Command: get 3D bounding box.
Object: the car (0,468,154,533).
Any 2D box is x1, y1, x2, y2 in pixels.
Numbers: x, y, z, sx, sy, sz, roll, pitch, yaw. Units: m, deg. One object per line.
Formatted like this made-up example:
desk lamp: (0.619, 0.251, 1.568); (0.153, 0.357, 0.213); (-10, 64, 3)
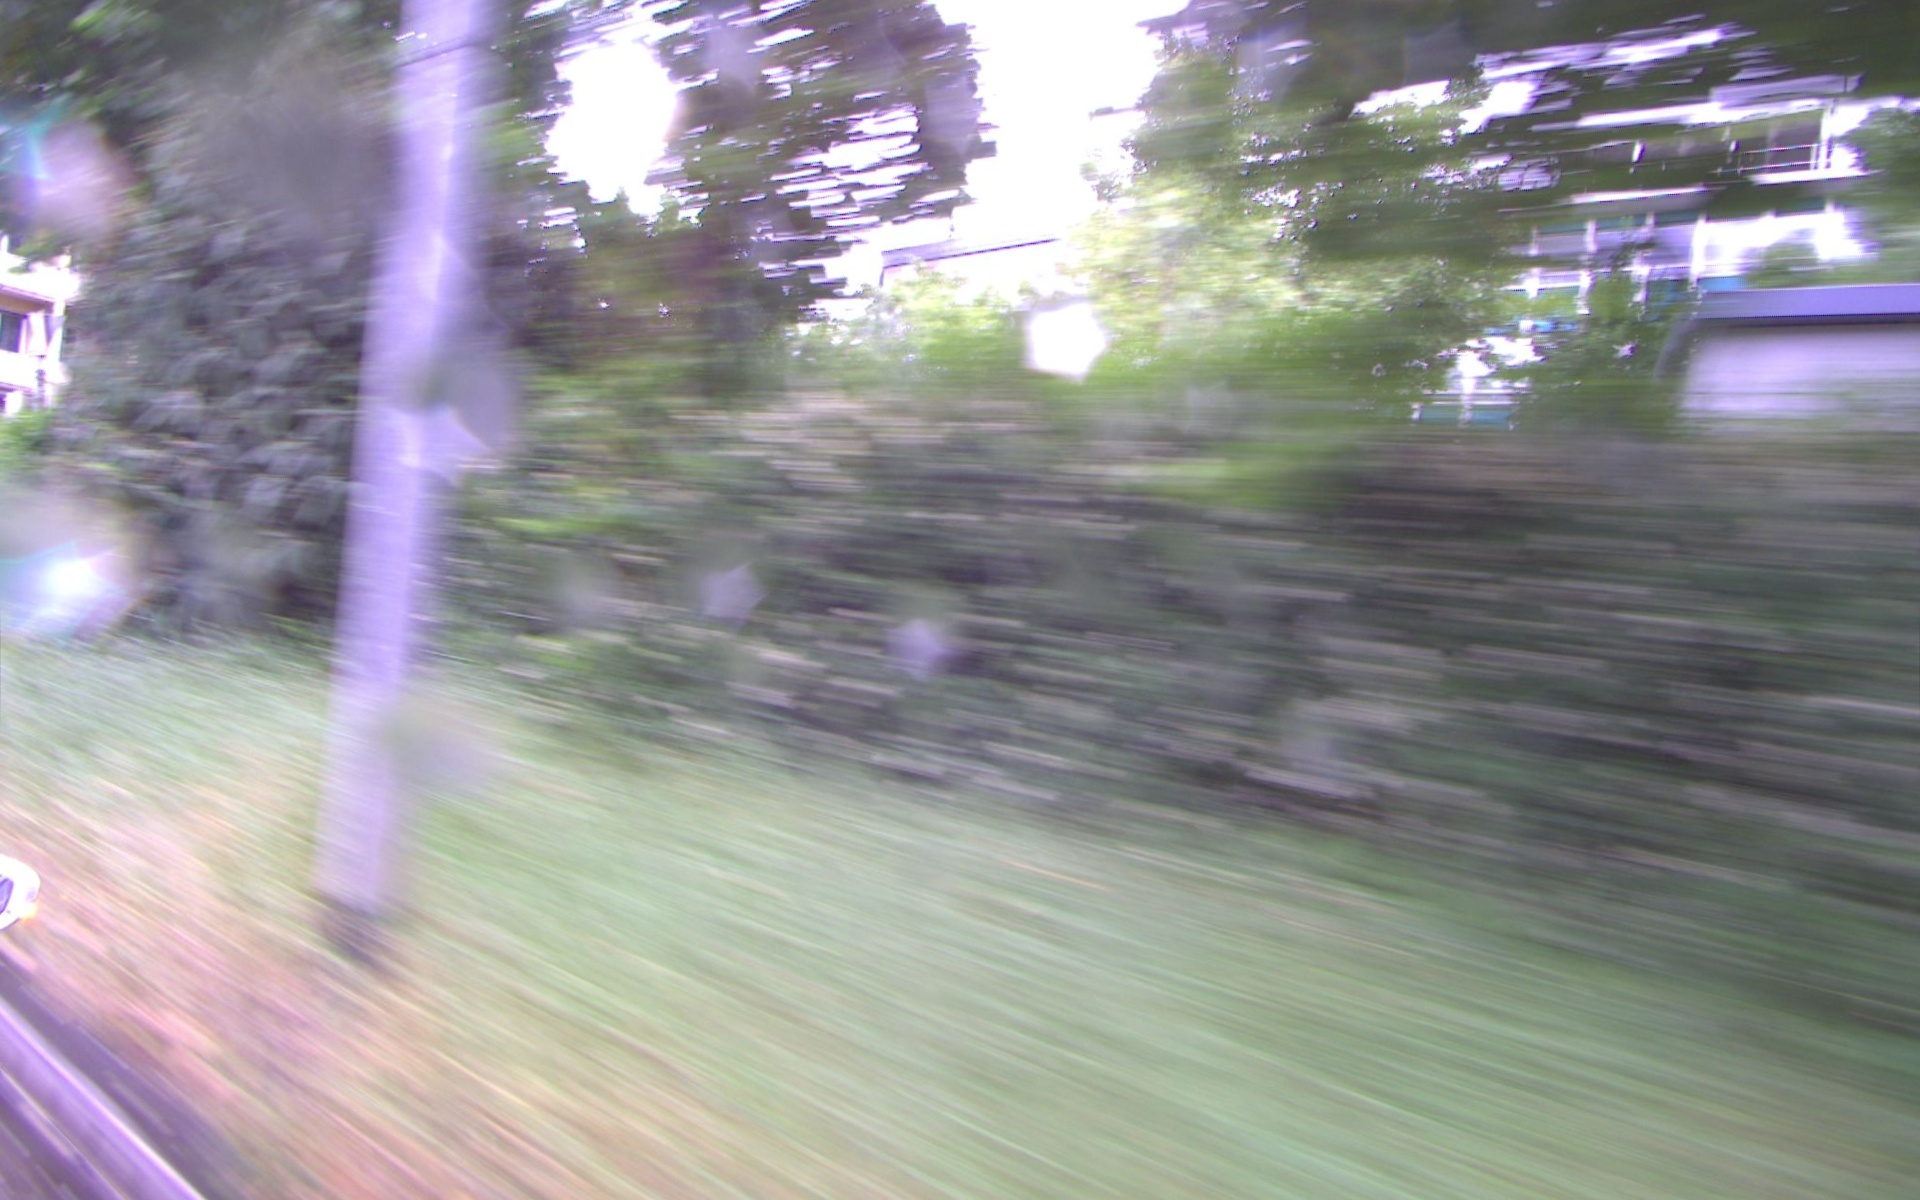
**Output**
car: (-28.315, -3.151, 32.293); (1.447, 1.577, 3.474); (8, 2, 30)
